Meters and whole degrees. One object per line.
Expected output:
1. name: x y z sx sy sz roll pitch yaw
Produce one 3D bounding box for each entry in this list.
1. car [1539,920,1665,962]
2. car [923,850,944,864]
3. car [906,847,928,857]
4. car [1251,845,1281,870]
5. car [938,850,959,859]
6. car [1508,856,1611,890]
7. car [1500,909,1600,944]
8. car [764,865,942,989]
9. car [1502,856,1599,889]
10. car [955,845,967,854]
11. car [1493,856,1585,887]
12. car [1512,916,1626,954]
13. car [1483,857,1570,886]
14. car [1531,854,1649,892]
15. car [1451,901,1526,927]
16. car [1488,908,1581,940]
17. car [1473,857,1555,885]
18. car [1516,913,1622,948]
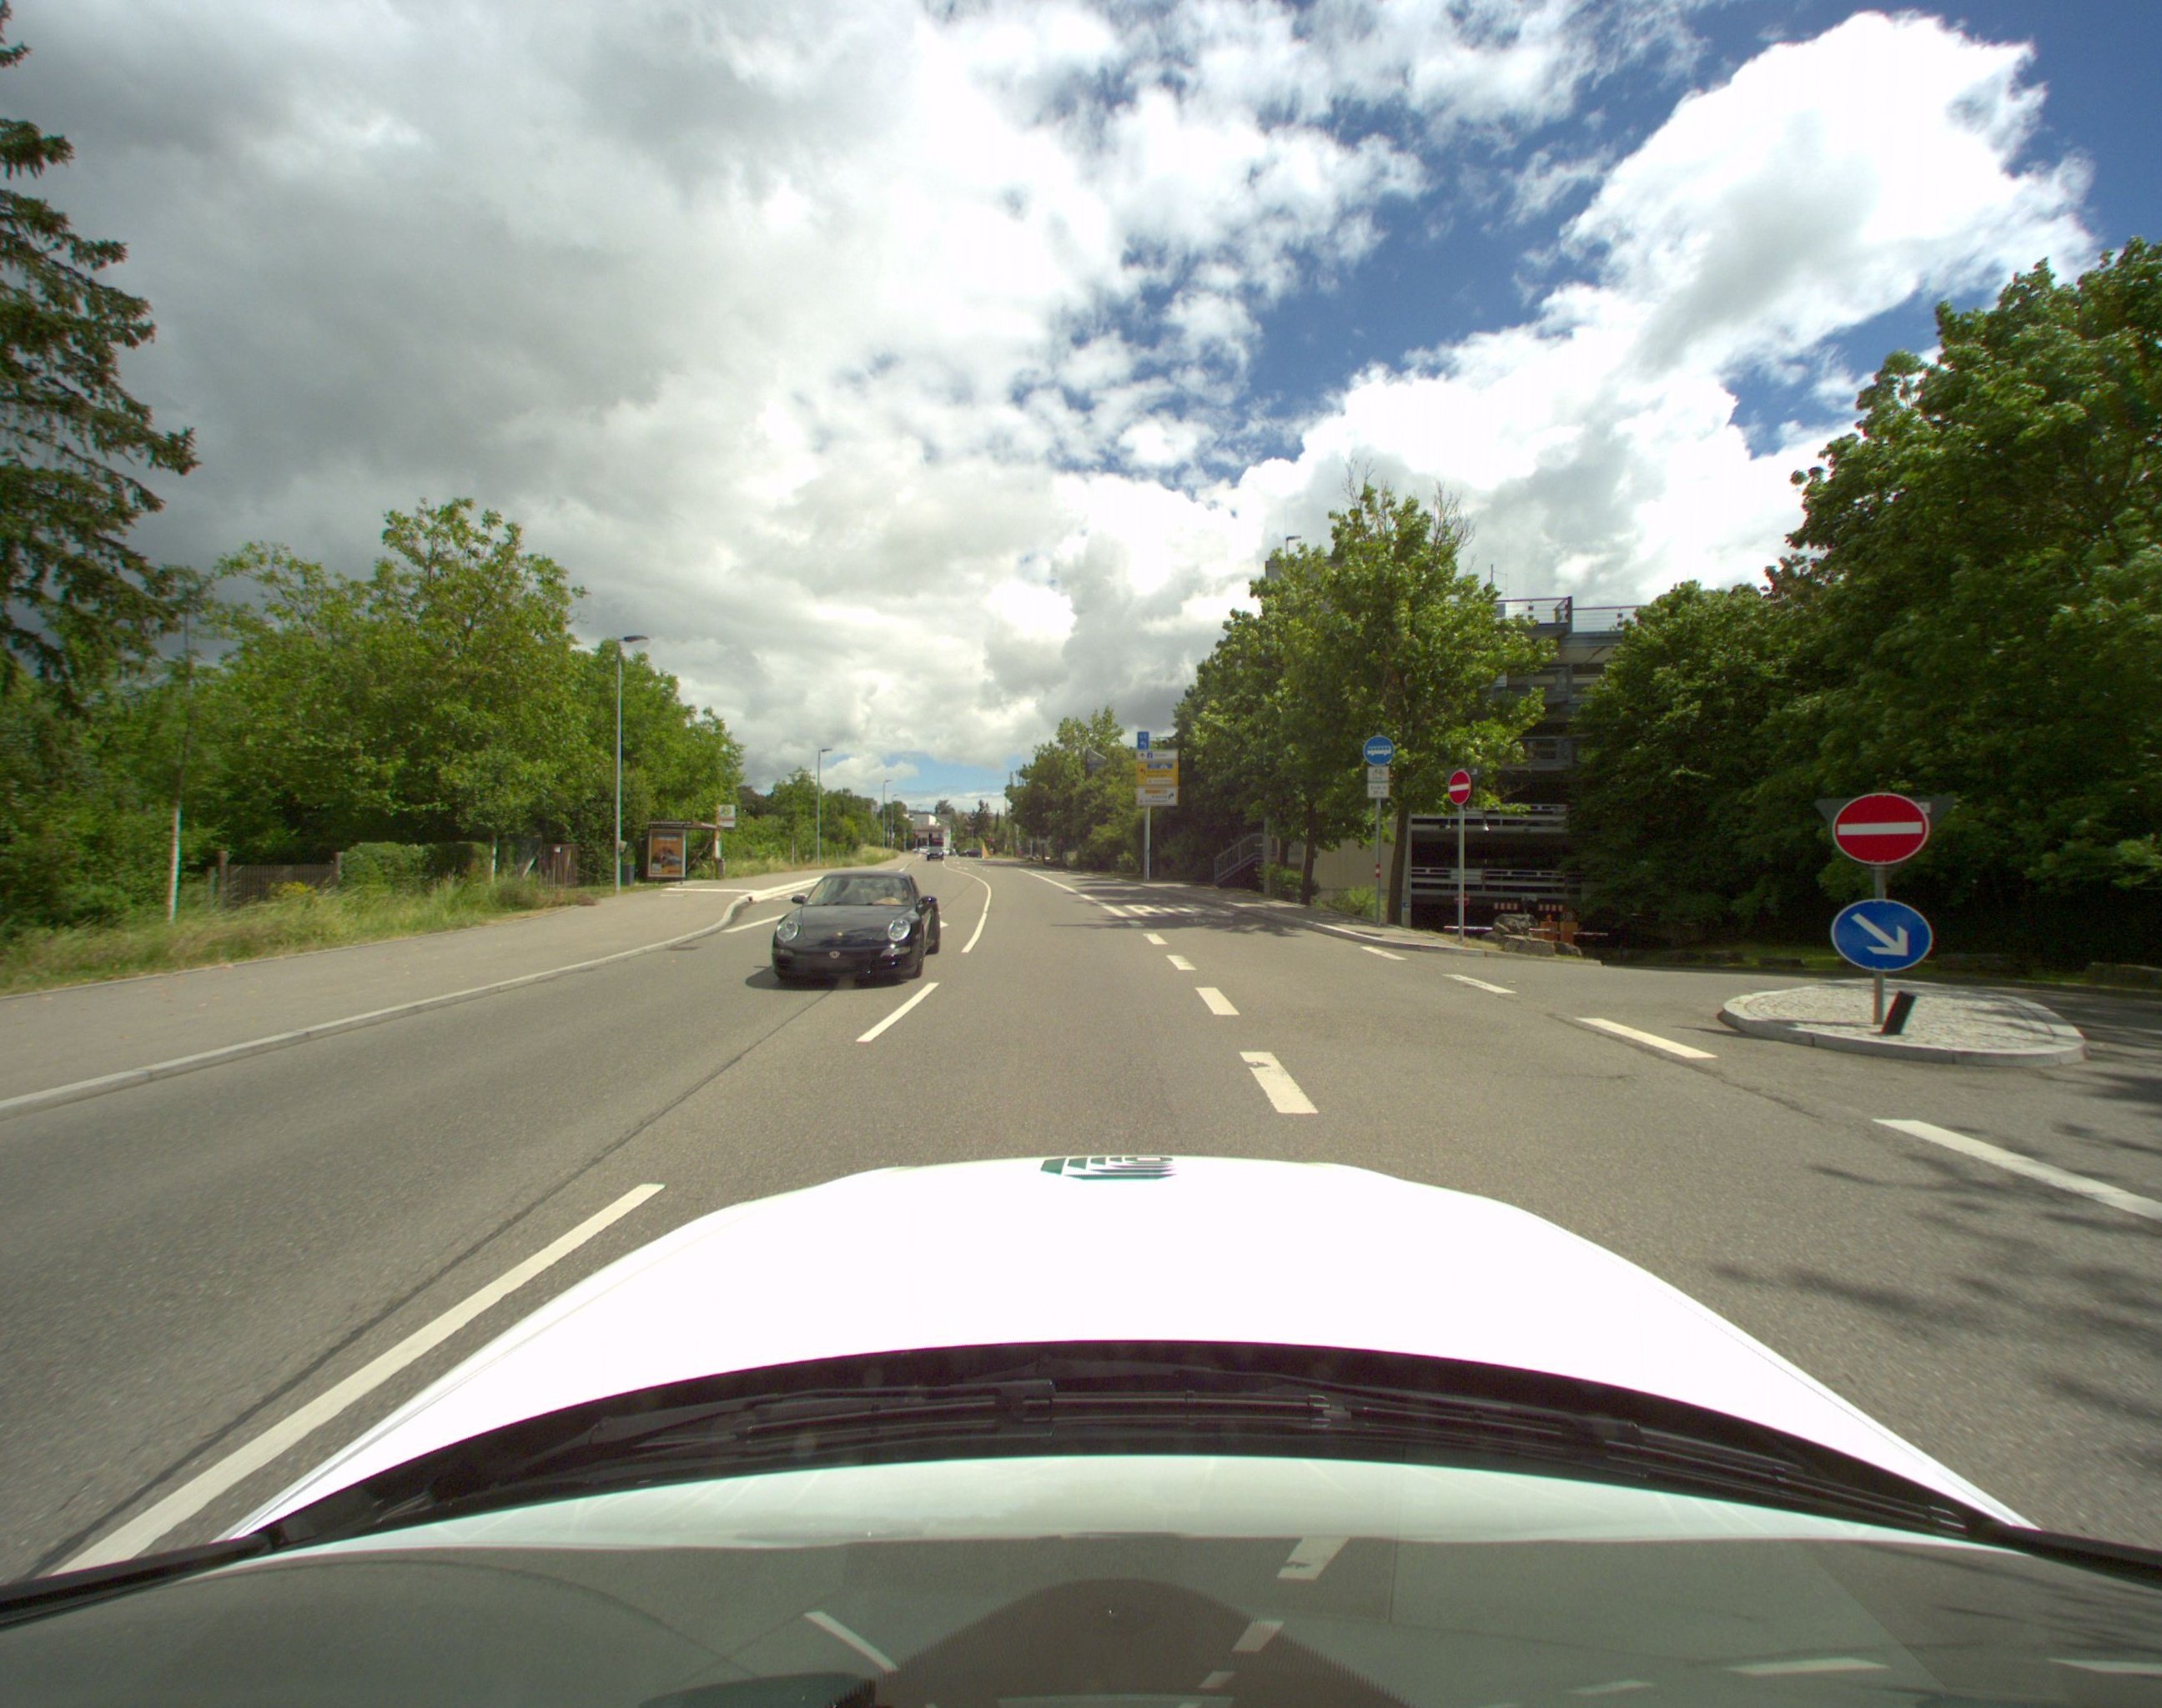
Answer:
1. car: 22.523 3.732 35.417 4.278 1.418 2.010 1 0 19
2. car: -17.016 0.342 93.878 1.827 1.557 4.602 -1 1 -17
3. car: -31.702 -0.362 157.811 3.983 1.904 1.995 0 0 -7
4. car: 14.086 0.258 62.153 1.866 1.799 3.714 -1 -1 8
5. car: -26.399 0.070 162.041 3.979 1.712 1.892 0 0 -4
6. car: 24.680 0.963 42.181 4.278 1.630 2.010 1 0 19
7. car: 24.770 3.805 43.172 4.278 1.489 2.010 1 0 19
8. car: -2.876 0.831 11.086 1.733 1.301 3.994 0 0 -7
9. car: 25.355 0.975 44.147 4.278 1.630 2.010 1 0 19
10. car: -22.267 -0.922 151.306 1.817 1.654 4.527 0 0 -3
11. car: 25.877 0.987 46.187 4.278 1.630 2.010 1 0 19
12. car: 22.858 3.783 38.363 4.278 1.418 2.010 1 0 19
13. car: 26.565 1.006 48.727 4.278 1.630 2.010 1 0 19
14. car: 23.411 0.857 37.673 4.278 1.630 2.010 1 0 19
15. car: 27.440 4.034 55.013 4.278 1.489 2.010 1 0 19
16. car: 25.150 3.871 45.333 4.278 1.489 2.010 1 0 19
17. car: 26.967 1.026 50.908 4.278 1.630 2.010 1 0 19
18. car: 24.484 3.805 41.054 4.278 1.418 2.010 1 0 19
